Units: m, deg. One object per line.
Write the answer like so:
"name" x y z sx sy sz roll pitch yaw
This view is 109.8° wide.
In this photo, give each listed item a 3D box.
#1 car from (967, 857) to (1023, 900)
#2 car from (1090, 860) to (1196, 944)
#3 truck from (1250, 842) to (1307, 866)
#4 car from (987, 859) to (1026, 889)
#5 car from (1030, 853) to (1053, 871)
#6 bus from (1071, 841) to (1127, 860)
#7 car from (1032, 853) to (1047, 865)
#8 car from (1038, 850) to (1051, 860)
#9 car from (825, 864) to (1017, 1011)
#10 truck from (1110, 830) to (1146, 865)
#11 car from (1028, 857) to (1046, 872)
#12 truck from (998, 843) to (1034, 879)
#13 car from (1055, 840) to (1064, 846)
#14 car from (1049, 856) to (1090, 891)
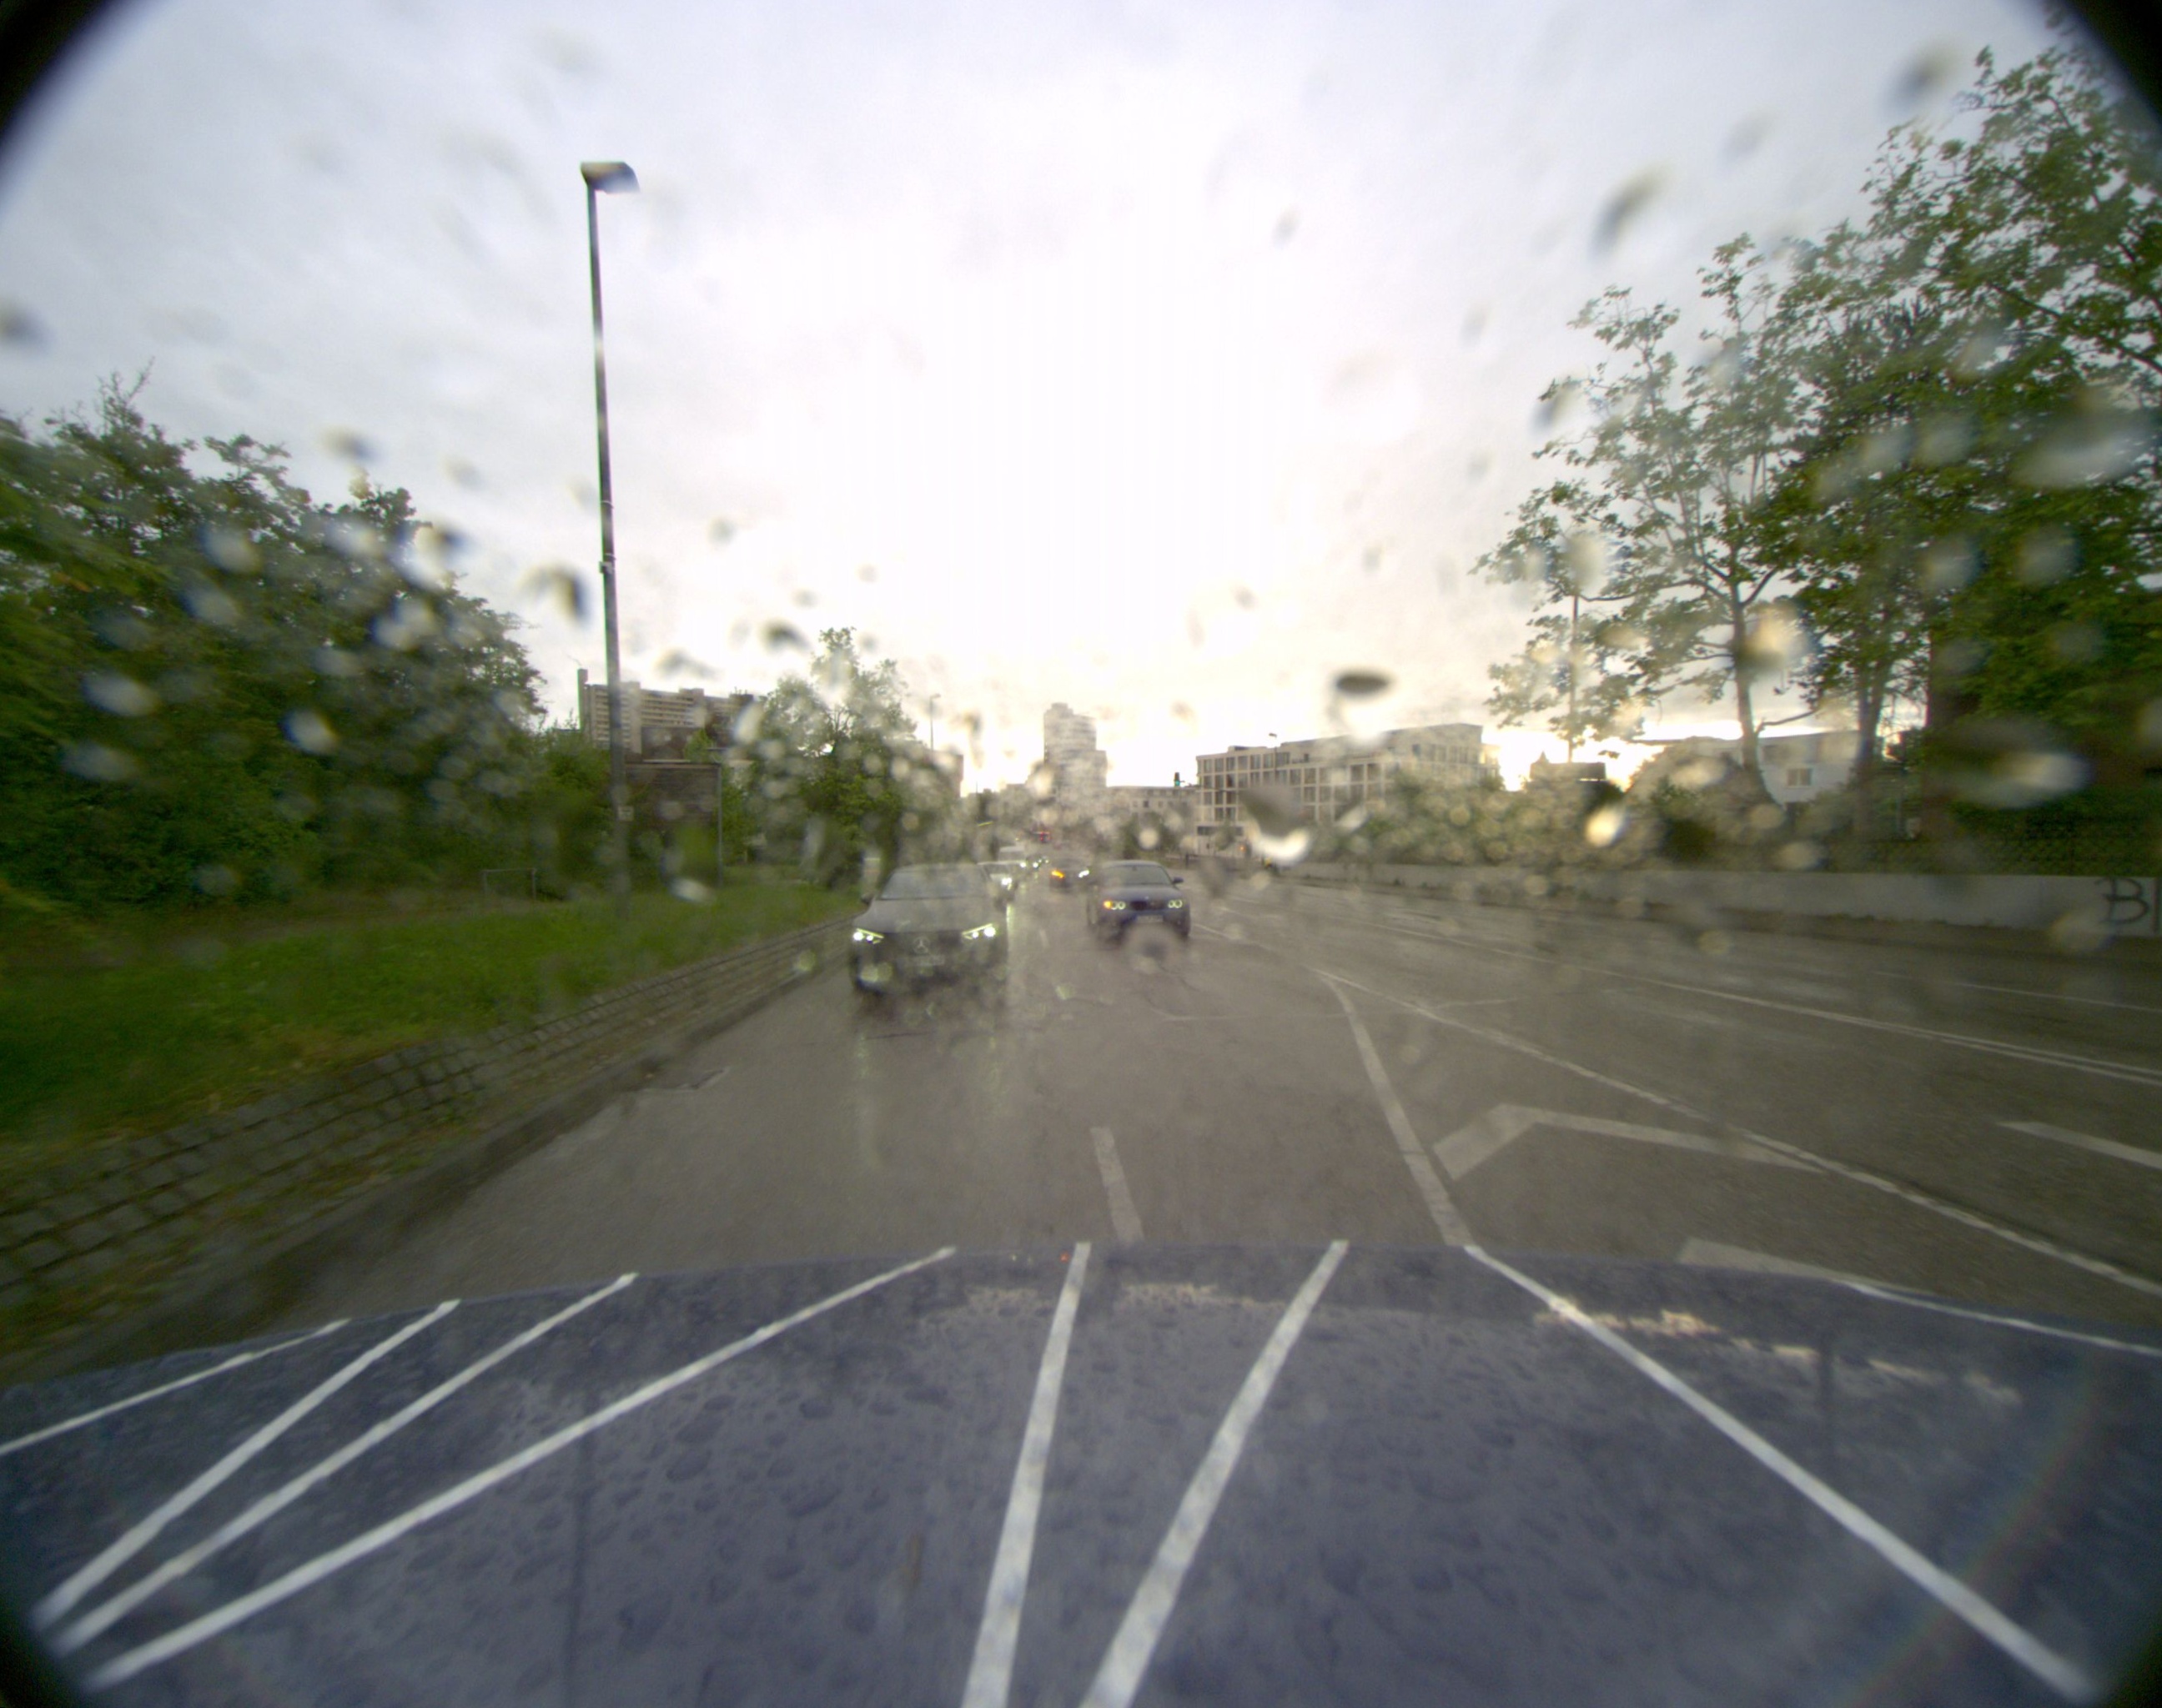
"car" -3.281 0.906 29.623 1.718 1.389 4.034 -2 1 0
"car" 1.127 0.864 15.312 1.787 1.335 3.703 -1 1 0
"truck" 22.146 0.001 85.077 6.185 2.524 2.223 1 2 -27
"car" -4.038 1.065 41.440 1.718 1.369 3.733 -2 1 0
"car" -3.624 0.692 69.238 1.999 1.543 3.999 -1 0 -3
"bus" 3.830 -0.894 173.565 2.958 3.972 18.178 0 2 -33
"car" -5.913 0.714 108.407 1.999 1.543 3.999 -1 0 -3
"car" -6.072 0.220 125.530 1.999 1.543 3.999 -1 0 -3
"car" -1.981 0.961 10.790 1.836 1.436 4.549 -2 1 -2
"truck" 3.407 -0.514 56.398 2.169 2.425 6.198 -1 1 0
"car" -4.954 1.156 86.200 1.999 1.543 3.999 -1 0 -3
"truck" -4.756 0.427 56.355 2.169 2.425 6.198 -1 1 0
"car" -5.300 -2.849 188.633 1.999 1.406 4.429 -1 1 -1
"car" -0.518 0.868 35.214 1.718 1.369 3.733 -2 1 0
